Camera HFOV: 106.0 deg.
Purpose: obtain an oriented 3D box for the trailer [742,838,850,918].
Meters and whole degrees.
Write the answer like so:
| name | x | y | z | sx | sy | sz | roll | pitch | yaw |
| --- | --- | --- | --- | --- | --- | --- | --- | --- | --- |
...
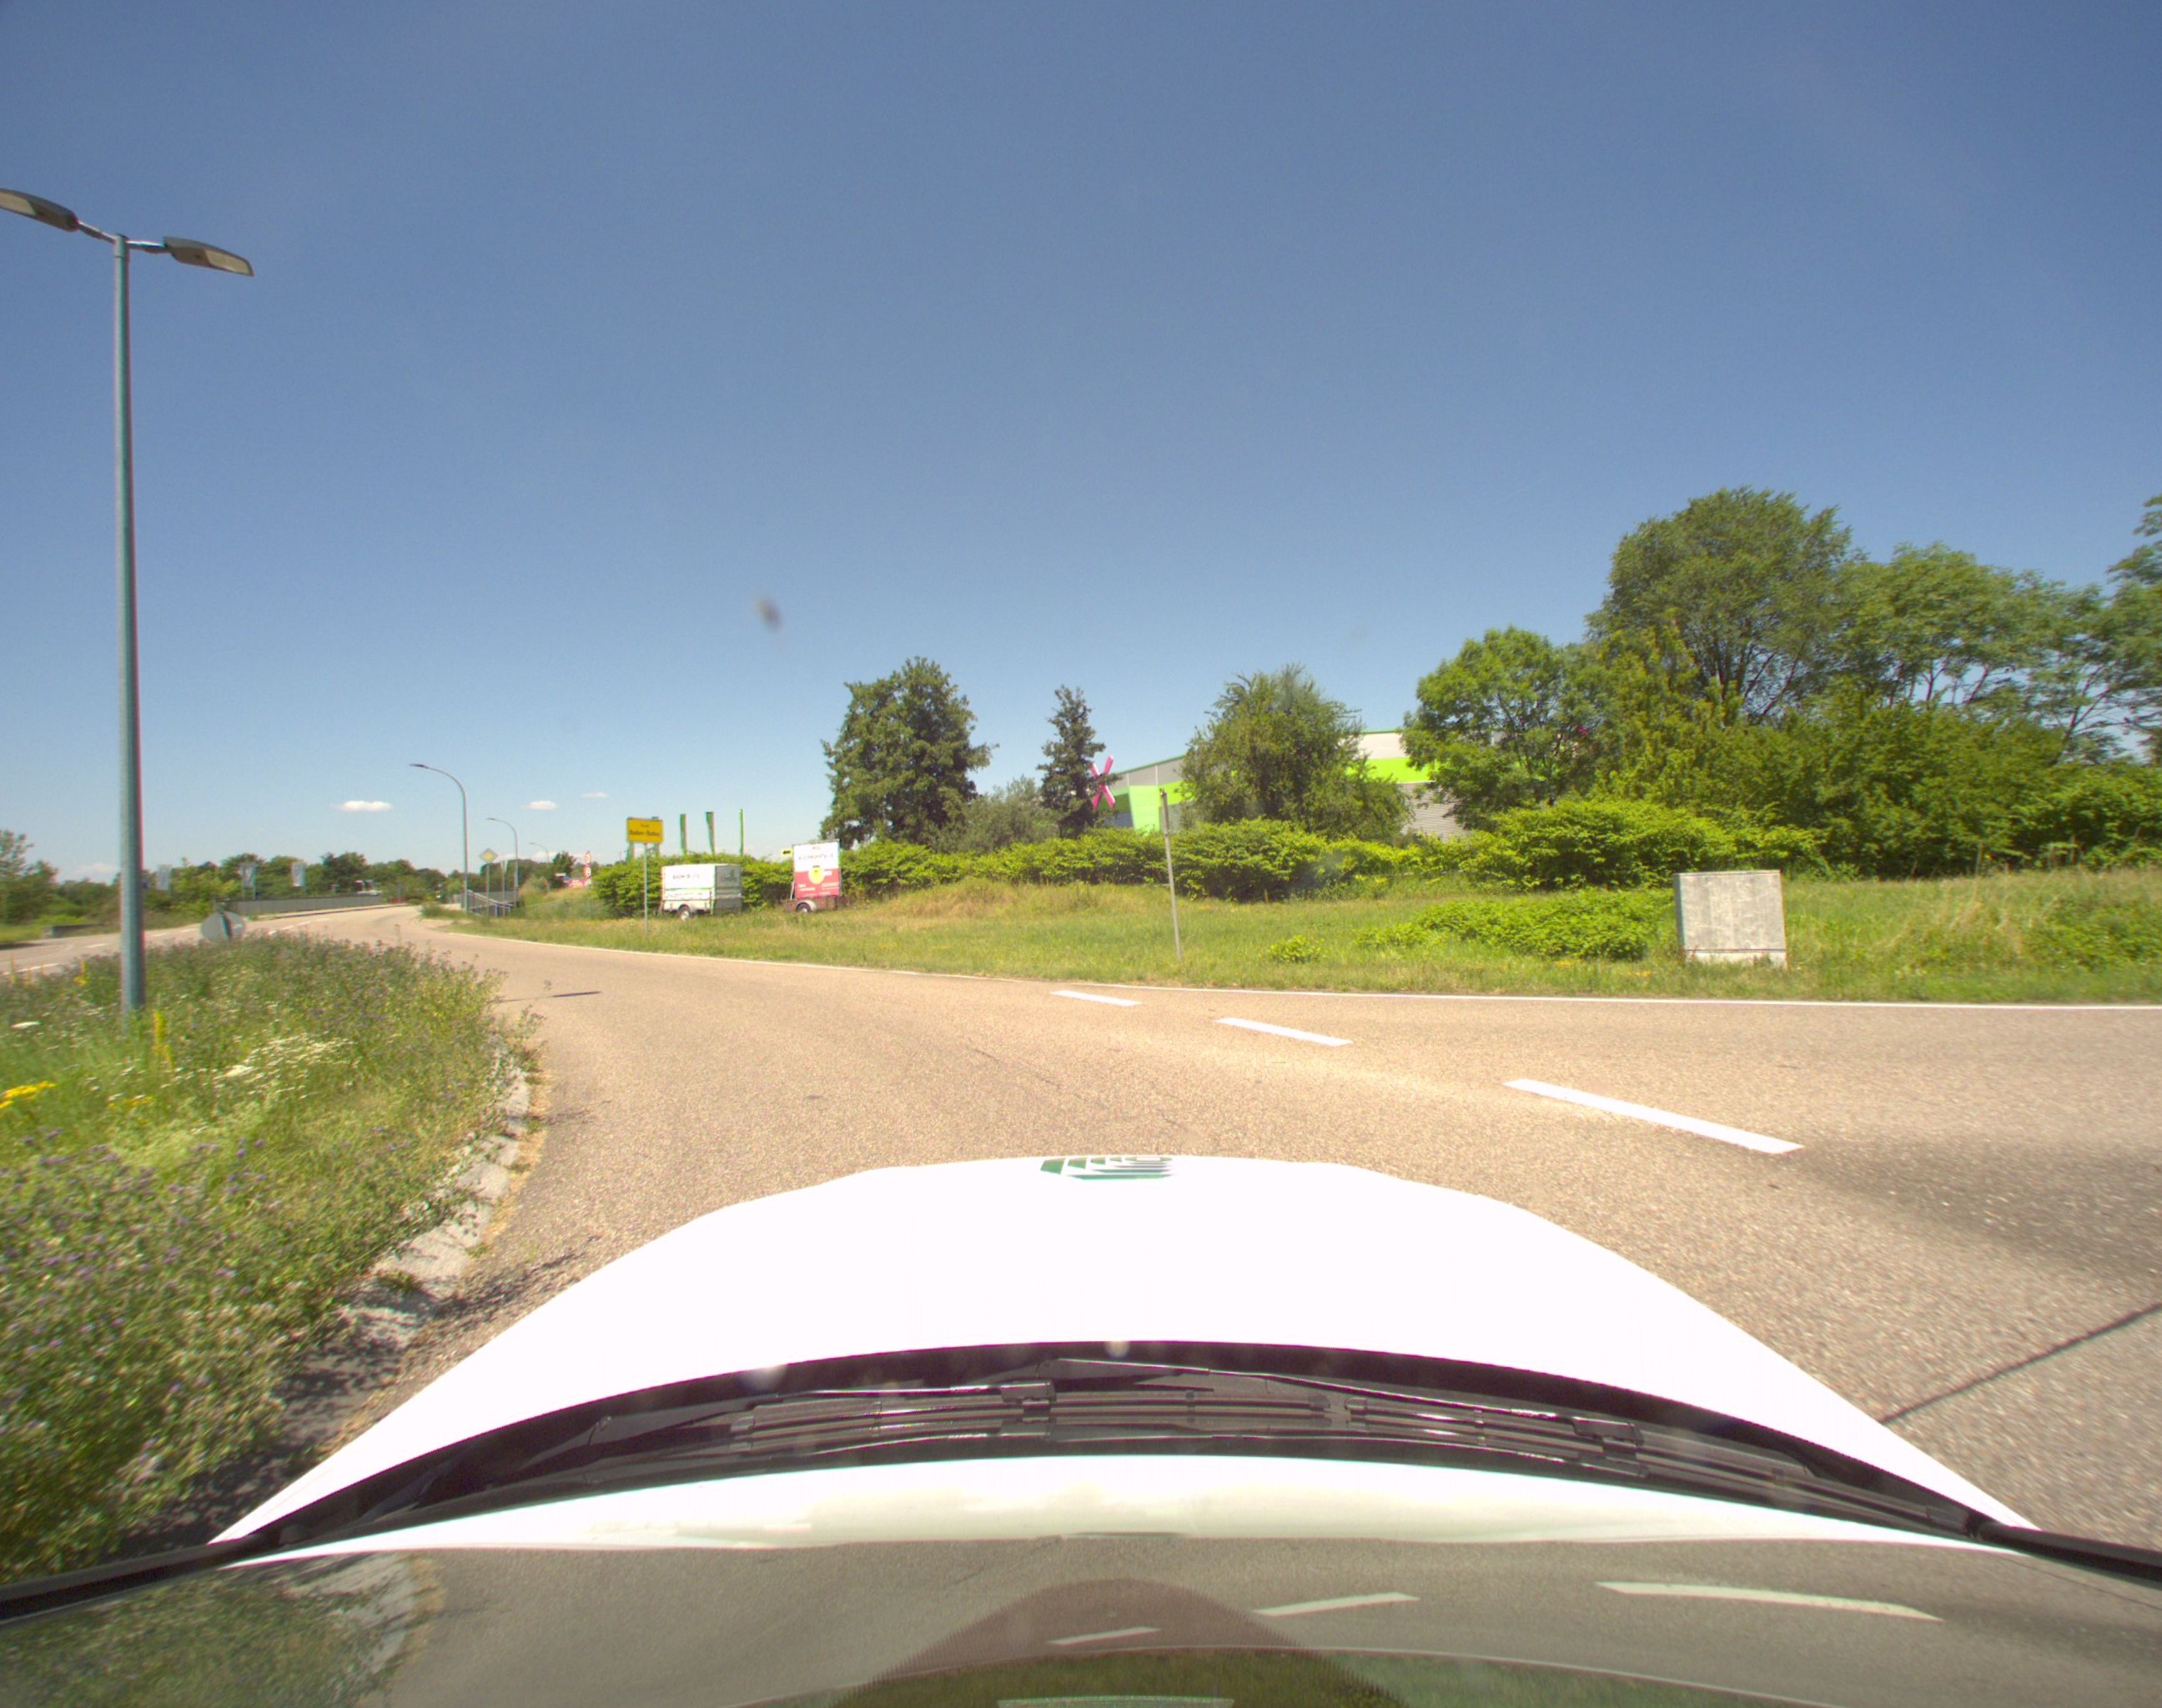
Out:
| name | x | y | z | sx | sy | sz | roll | pitch | yaw |
| --- | --- | --- | --- | --- | --- | --- | --- | --- | --- |
| trailer | -10.323 | 0.883 | 29.585 | 3.111 | 2.670 | 1.860 | -3 | -2 | 18 |

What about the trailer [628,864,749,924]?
| name | x | y | z | sx | sy | sz | roll | pitch | yaw |
| --- | --- | --- | --- | --- | --- | --- | --- | --- | --- |
| trailer | -14.987 | 1.519 | 31.124 | 3.924 | 2.078 | 1.860 | -3 | -2 | 18 |
